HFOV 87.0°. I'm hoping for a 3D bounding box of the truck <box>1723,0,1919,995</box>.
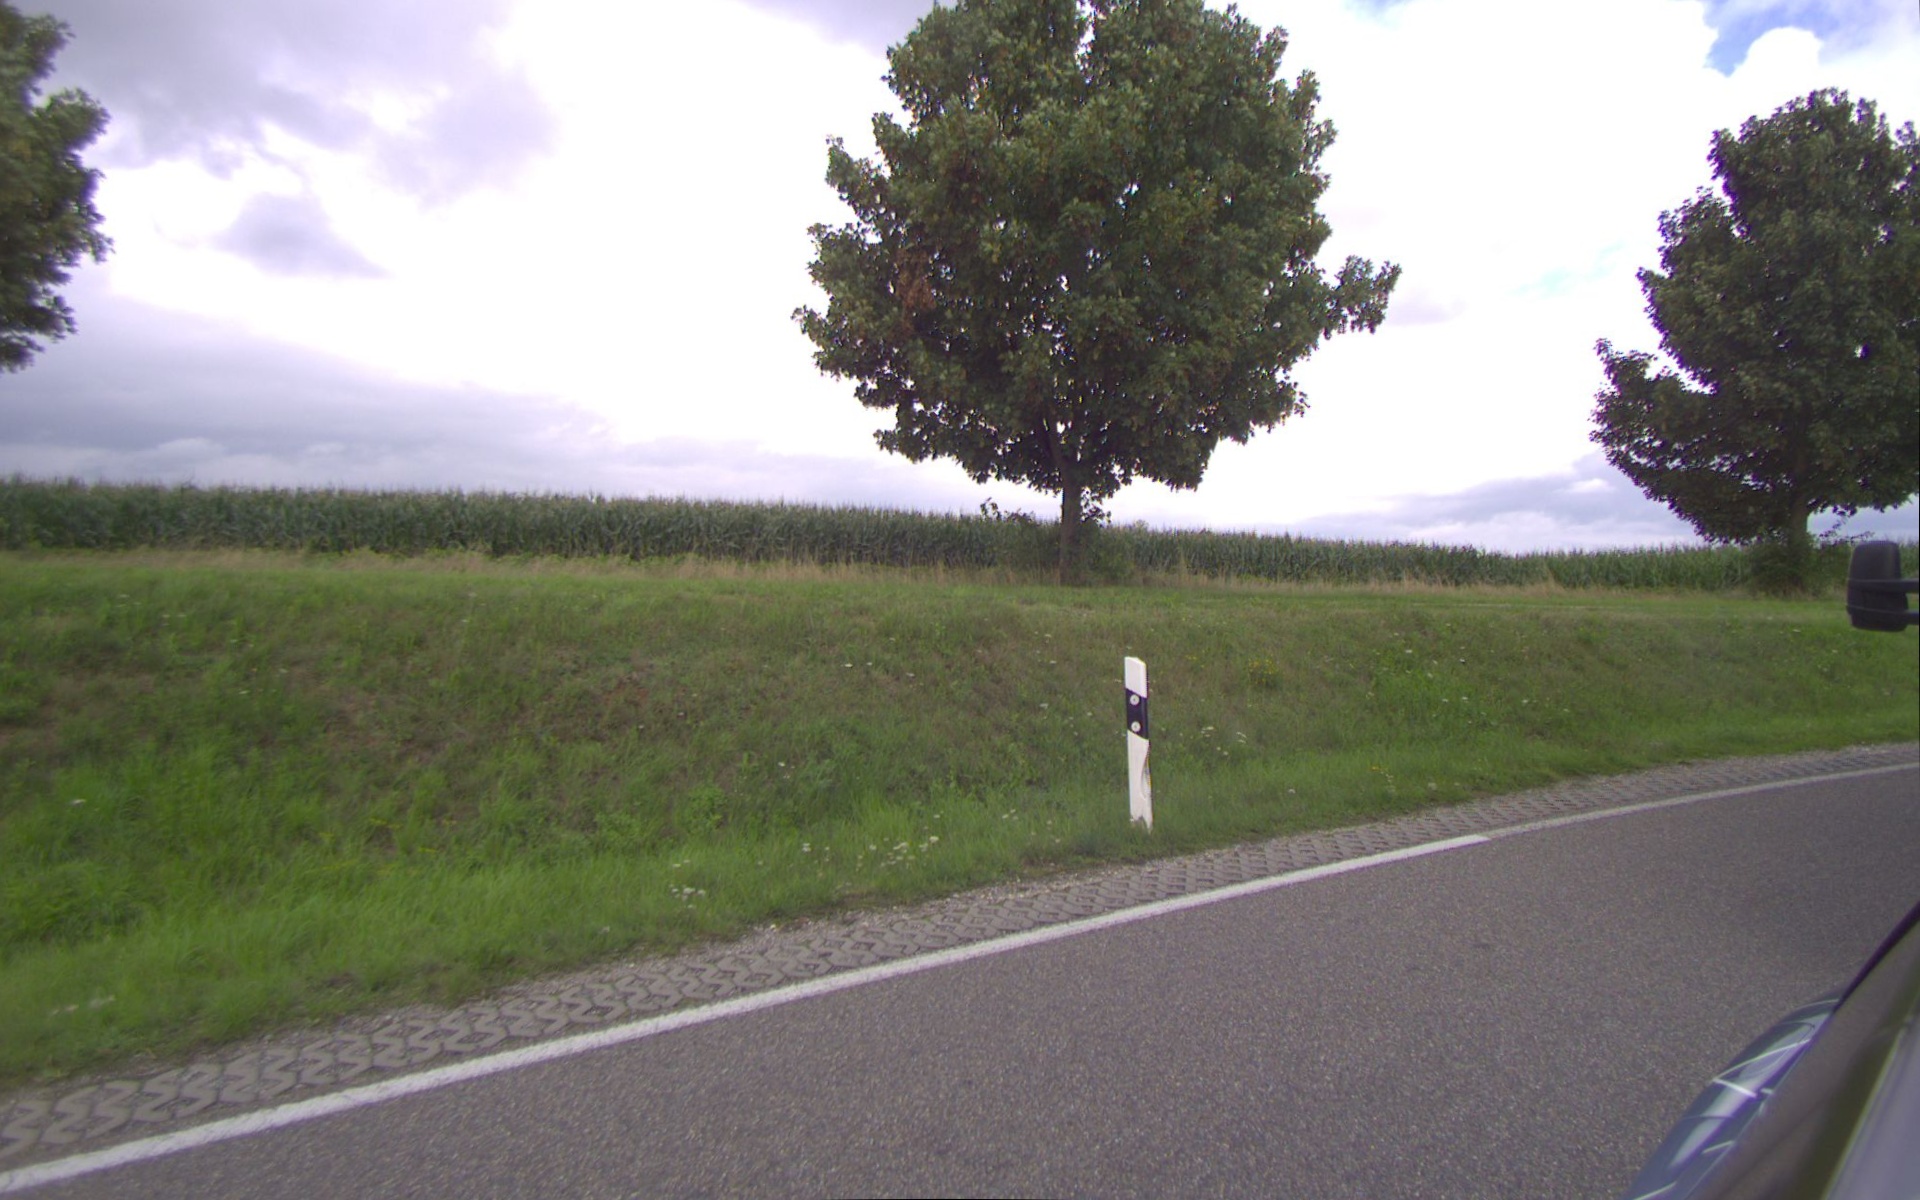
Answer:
[{"bbox_3d":[7.291,-0.588,4.727,8.624,3.810,2.842,0,1,-31],"label":"truck"}]
